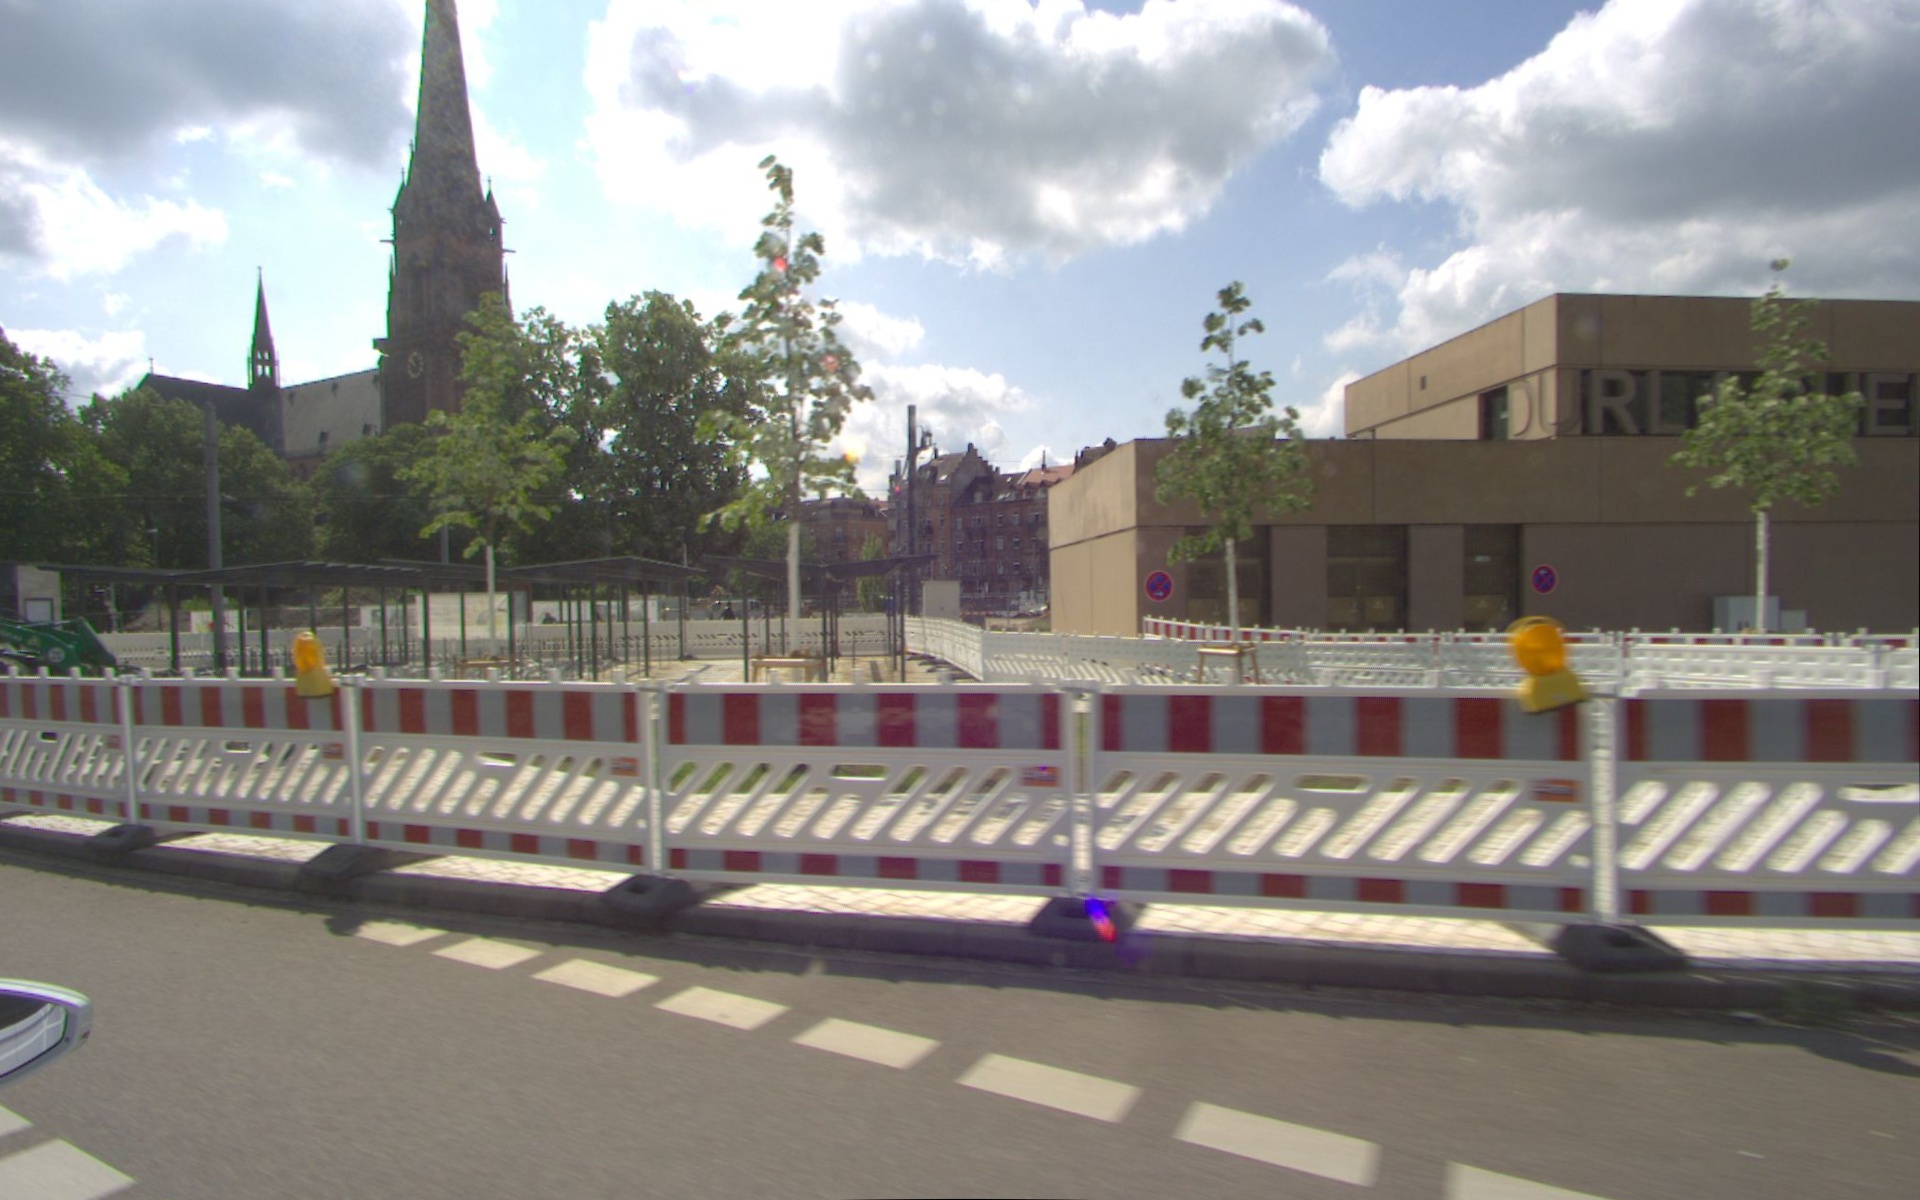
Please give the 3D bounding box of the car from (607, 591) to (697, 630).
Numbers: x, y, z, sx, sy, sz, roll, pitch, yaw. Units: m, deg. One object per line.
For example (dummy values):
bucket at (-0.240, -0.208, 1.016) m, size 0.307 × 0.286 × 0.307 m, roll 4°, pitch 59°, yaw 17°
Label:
car at (-15.707, 0.541, 51.303) m, size 4.099 × 1.907 × 1.802 m, roll -1°, pitch 1°, yaw -6°

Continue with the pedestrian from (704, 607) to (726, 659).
pedestrian at (-9.859, 1.306, 40.258) m, size 0.748 × 2.041 × 0.750 m, roll -1°, pitch 1°, yaw -7°

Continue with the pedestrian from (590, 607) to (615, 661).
pedestrian at (-13.747, 1.307, 38.527) m, size 0.748 × 2.041 × 0.750 m, roll -1°, pitch 1°, yaw -7°

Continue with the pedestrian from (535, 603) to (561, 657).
pedestrian at (-15.962, 1.156, 38.782) m, size 0.736 × 2.041 × 0.762 m, roll -1°, pitch 1°, yaw -9°

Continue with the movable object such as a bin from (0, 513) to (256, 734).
movable object such as a bin at (-13.628, 0.320, 14.203) m, size 5.441 × 2.923 × 2.285 m, roll -1°, pitch 1°, yaw -14°

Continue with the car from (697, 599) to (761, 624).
car at (-17.363, 0.880, 75.364) m, size 4.286 × 1.817 × 1.783 m, roll -1°, pitch 1°, yaw 4°

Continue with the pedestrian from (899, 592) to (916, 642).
pedestrian at (-2.149, 0.698, 40.970) m, size 0.689 × 2.041 × 0.555 m, roll -1°, pitch 1°, yaw -5°
